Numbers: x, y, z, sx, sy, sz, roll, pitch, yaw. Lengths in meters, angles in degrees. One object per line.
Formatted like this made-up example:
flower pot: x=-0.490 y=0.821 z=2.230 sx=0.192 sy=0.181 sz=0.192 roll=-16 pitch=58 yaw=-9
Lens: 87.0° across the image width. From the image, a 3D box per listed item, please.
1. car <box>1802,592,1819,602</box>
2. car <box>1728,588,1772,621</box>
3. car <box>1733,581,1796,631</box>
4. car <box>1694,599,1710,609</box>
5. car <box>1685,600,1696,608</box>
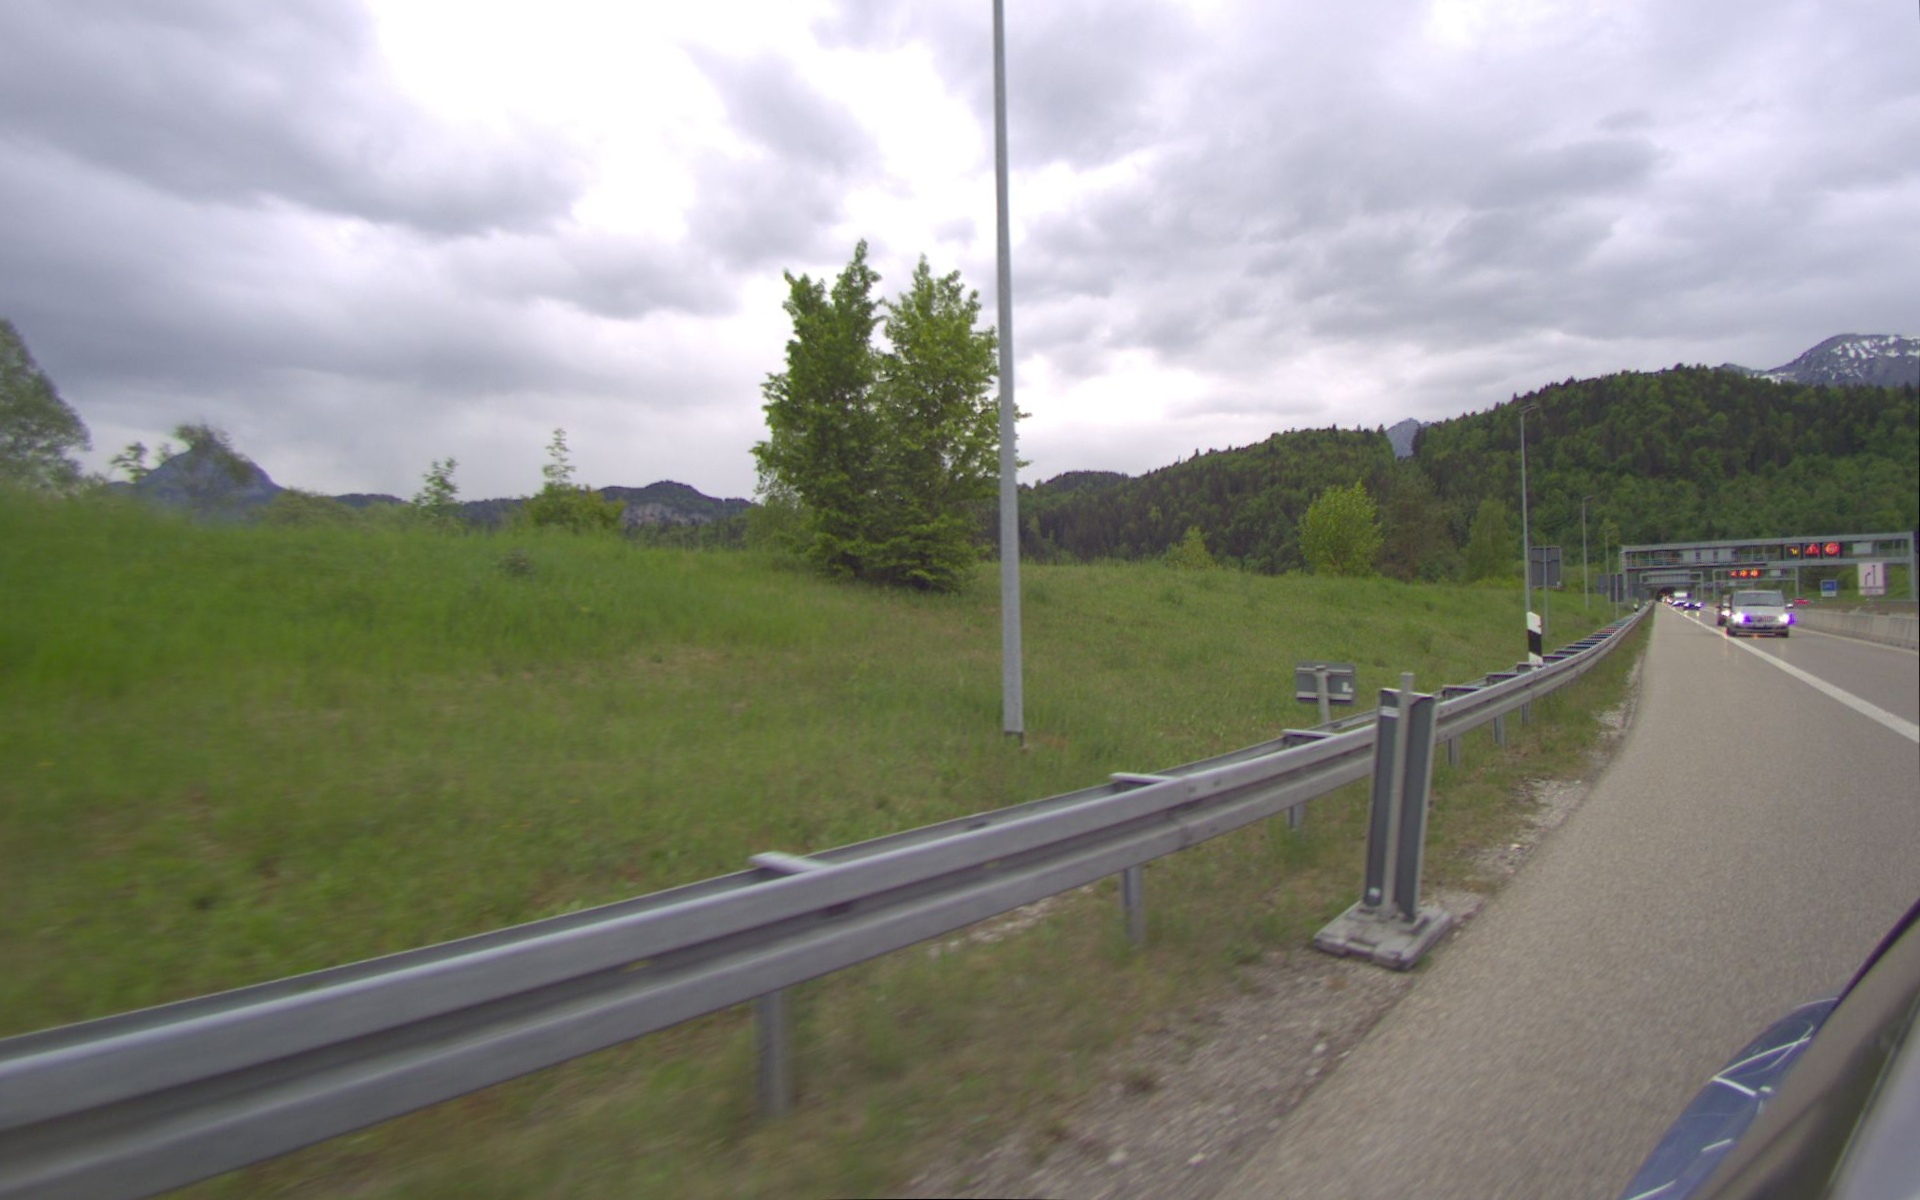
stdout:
car: x=132.388 y=-0.434 z=157.533 sx=1.697 sy=1.595 sz=4.123 roll=-1 pitch=-1 yaw=35
car: x=45.522 y=0.234 z=58.380 sx=1.746 sy=1.828 sz=3.950 roll=0 pitch=0 yaw=35
car: x=32.812 y=0.208 z=41.374 sx=1.914 sy=1.905 sz=5.069 roll=0 pitch=1 yaw=38
car: x=105.939 y=0.512 z=144.511 sx=1.654 sy=1.354 sz=3.744 roll=1 pitch=0 yaw=35
car: x=149.257 y=0.786 z=206.654 sx=1.624 sy=1.719 sz=3.446 roll=0 pitch=0 yaw=39
